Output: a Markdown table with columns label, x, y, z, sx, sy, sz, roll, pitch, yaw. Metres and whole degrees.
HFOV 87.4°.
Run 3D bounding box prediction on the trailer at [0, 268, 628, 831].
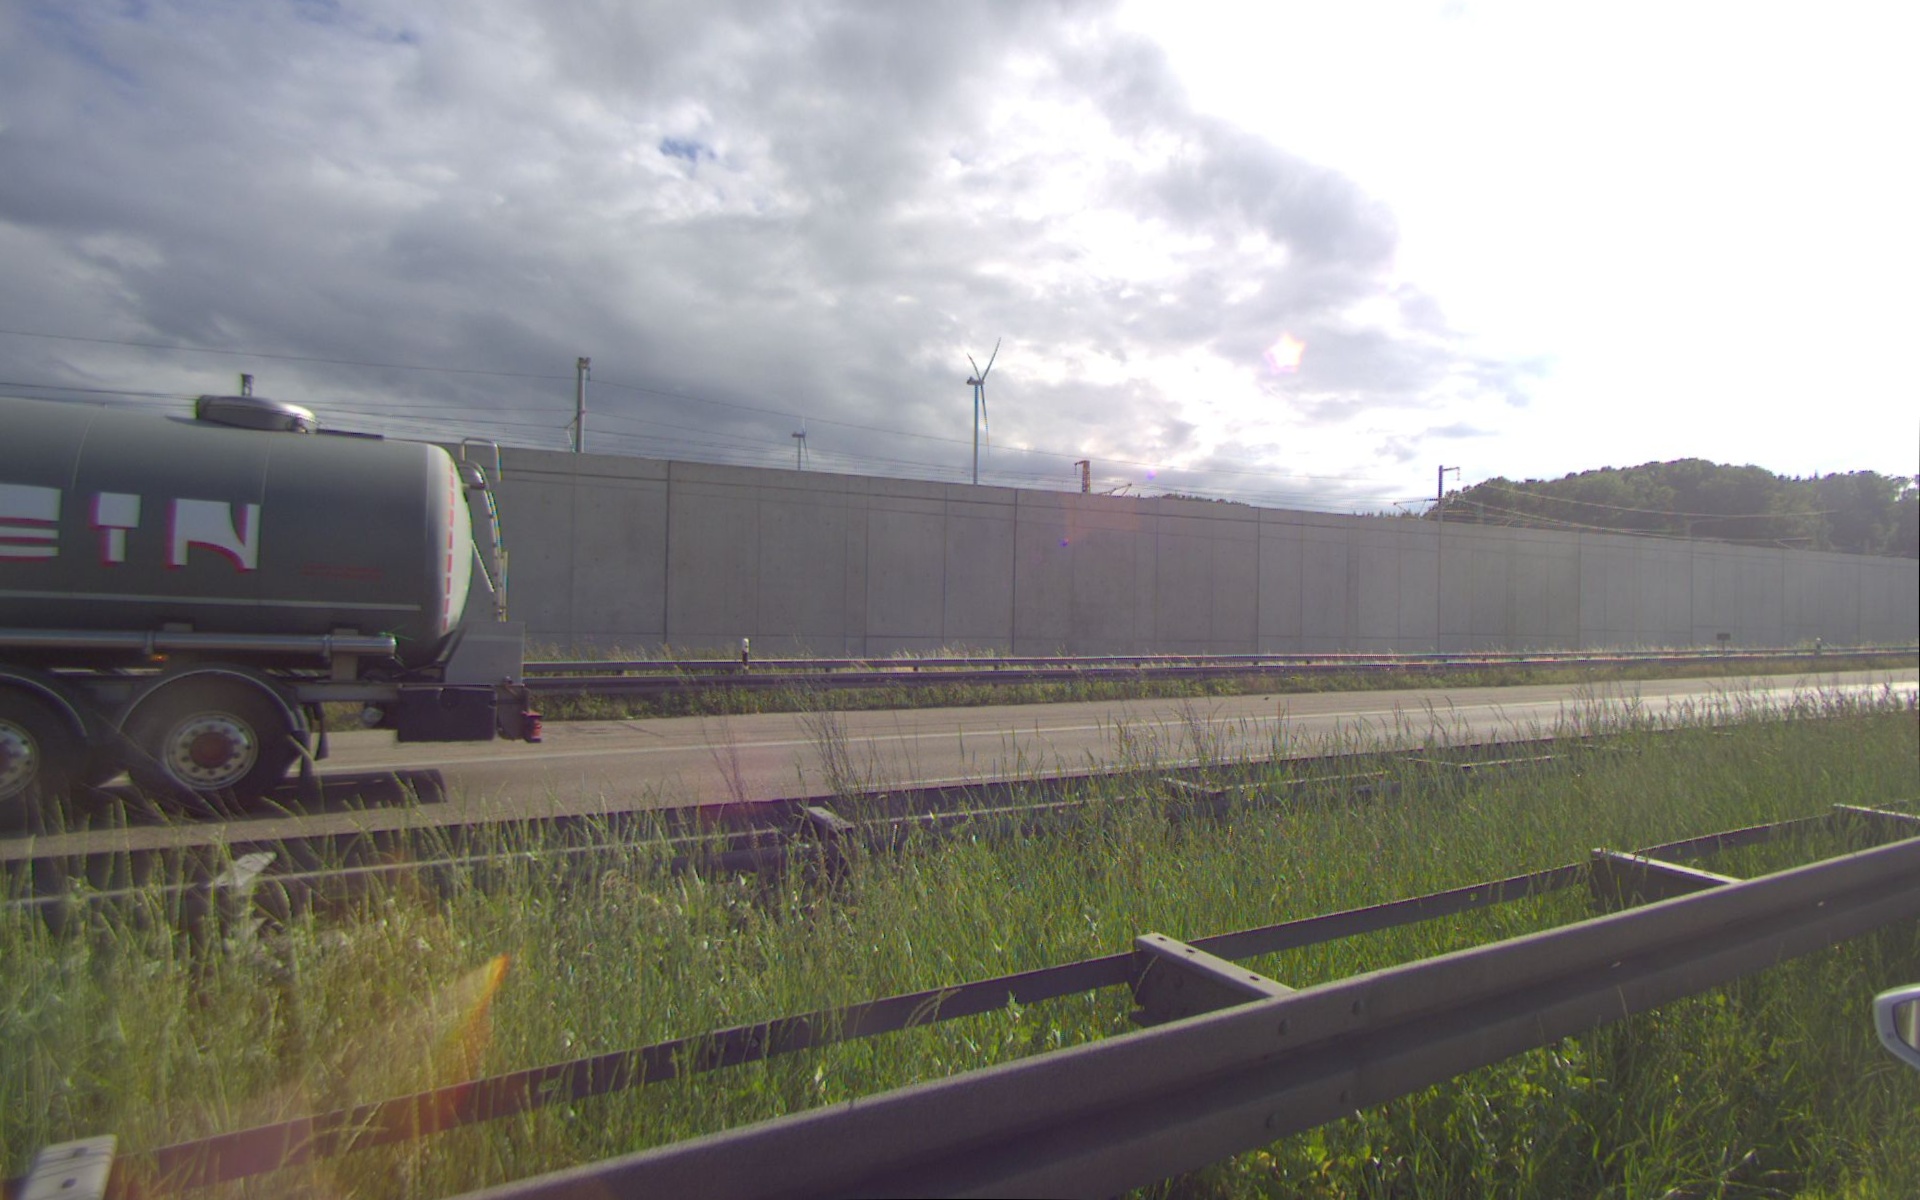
| label | x | y | z | sx | sy | sz | roll | pitch | yaw |
| --- | --- | --- | --- | --- | --- | --- | --- | --- | --- |
| trailer | -8.328 | -0.360 | 7.591 | 10.739 | 3.953 | 2.576 | 2 | -2 | -31 |
